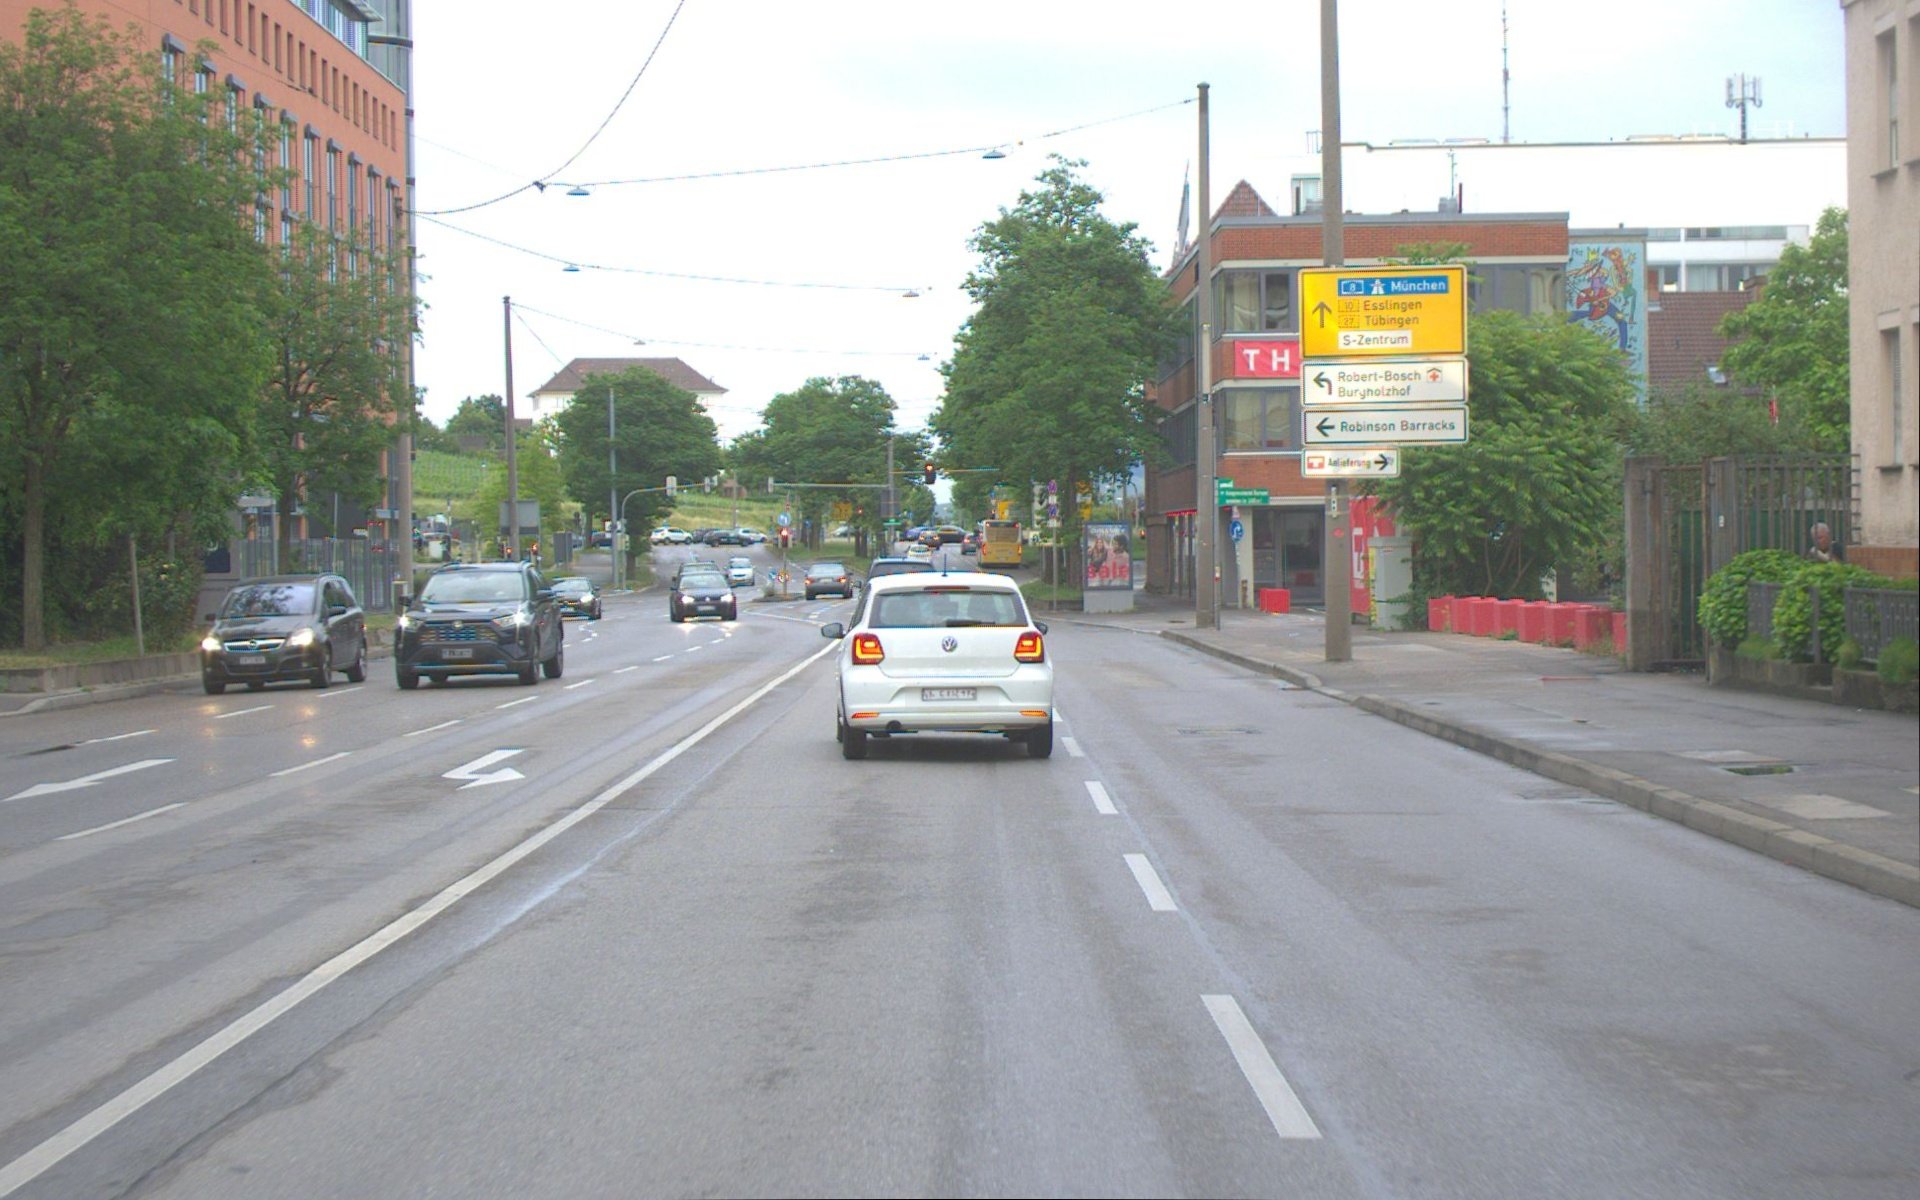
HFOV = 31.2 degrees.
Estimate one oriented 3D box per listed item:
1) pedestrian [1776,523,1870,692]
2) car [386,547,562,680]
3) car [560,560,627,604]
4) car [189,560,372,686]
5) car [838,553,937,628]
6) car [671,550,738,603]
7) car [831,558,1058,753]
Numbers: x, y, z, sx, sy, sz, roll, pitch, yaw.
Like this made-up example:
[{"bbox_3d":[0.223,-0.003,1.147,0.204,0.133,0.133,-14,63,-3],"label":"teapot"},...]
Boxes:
[{"bbox_3d":[9.164,0.075,36.517,0.911,1.758,0.767,1,1,12],"label":"pedestrian"},{"bbox_3d":[-6.604,0.140,47.111,1.756,1.550,4.451,-3,2,-1],"label":"car"},{"bbox_3d":[-12.122,-0.616,113.862,1.621,1.319,4.446,-2,1,1],"label":"car"},{"bbox_3d":[-9.600,0.286,48.840,1.708,1.560,4.034,-3,2,0],"label":"car"},{"bbox_3d":[-1.549,-0.235,75.000,1.993,1.568,4.000,-1,1,1],"label":"car"},{"bbox_3d":[-7.399,-0.692,99.809,1.659,1.481,3.820,-1,1,0],"label":"car"},{"bbox_3d":[-0.185,0.398,28.004,1.671,1.469,3.780,0,1,-3],"label":"car"}]
